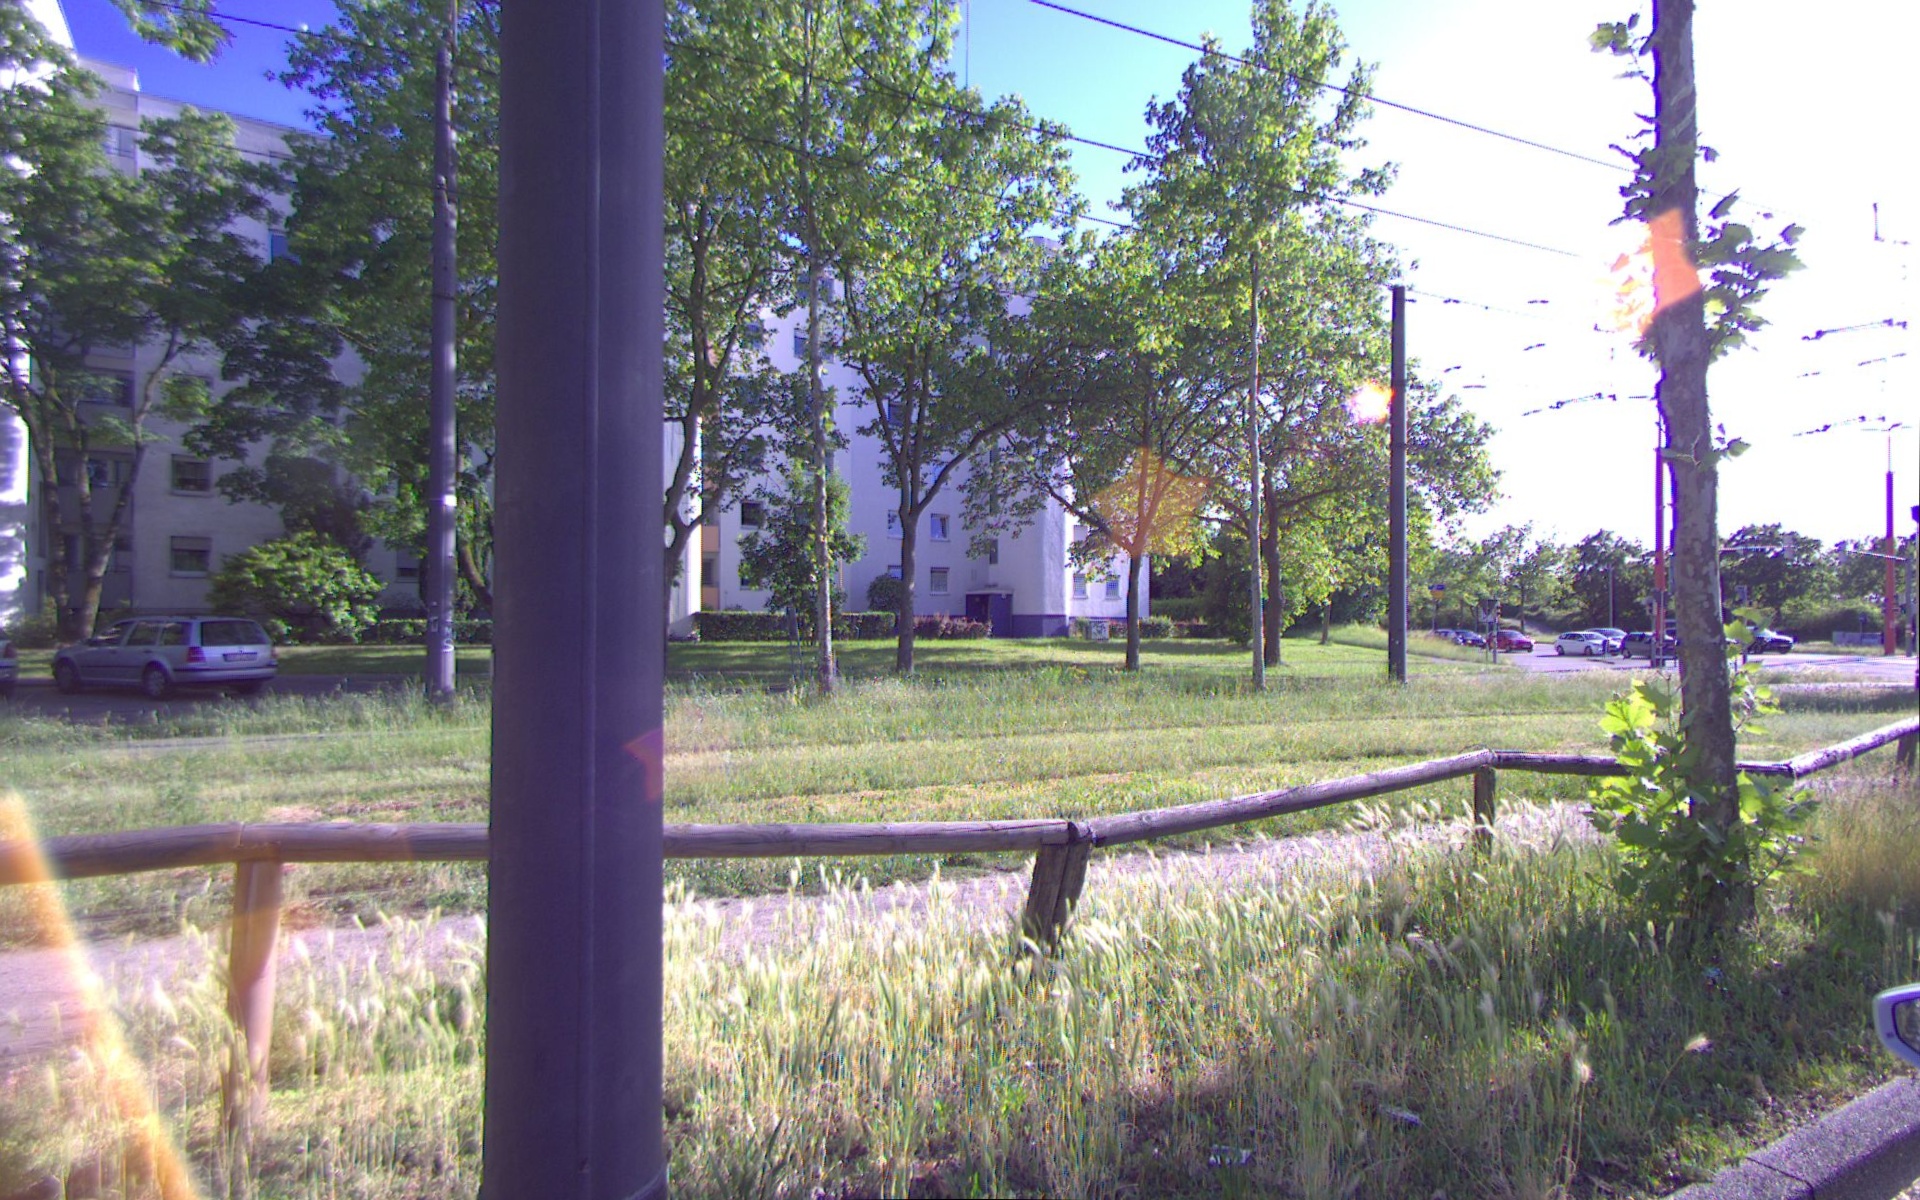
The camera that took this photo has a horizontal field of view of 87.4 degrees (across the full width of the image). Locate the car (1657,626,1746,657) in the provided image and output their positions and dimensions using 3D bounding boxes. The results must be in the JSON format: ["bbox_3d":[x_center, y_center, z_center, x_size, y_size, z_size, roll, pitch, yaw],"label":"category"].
[{"bbox_3d":[42.529,2.344,57.740,1.962,1.666,3.997,1,-1,-5],"label":"car"}]

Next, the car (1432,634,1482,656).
[{"bbox_3d":[34.606,3.136,69.986,1.772,1.409,2.843,1,-1,-12],"label":"car"}]

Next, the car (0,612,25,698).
[{"bbox_3d":[-18.030,0.912,17.090,3.547,1.439,1.576,1,0,18],"label":"car"}]

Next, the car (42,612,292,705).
[{"bbox_3d":[-14.553,1.010,18.459,3.898,1.462,1.710,1,0,18],"label":"car"}]

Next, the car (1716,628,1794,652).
[{"bbox_3d":[48.785,2.431,61.736,1.664,1.347,4.001,1,-1,2],"label":"car"}]

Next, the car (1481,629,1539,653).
[{"bbox_3d":[38.465,2.853,70.362,1.699,1.533,3.998,1,-1,-4],"label":"car"}]

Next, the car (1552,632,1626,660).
[{"bbox_3d":[39.042,2.822,62.463,1.833,1.633,4.185,1,-1,-4],"label":"car"}]
